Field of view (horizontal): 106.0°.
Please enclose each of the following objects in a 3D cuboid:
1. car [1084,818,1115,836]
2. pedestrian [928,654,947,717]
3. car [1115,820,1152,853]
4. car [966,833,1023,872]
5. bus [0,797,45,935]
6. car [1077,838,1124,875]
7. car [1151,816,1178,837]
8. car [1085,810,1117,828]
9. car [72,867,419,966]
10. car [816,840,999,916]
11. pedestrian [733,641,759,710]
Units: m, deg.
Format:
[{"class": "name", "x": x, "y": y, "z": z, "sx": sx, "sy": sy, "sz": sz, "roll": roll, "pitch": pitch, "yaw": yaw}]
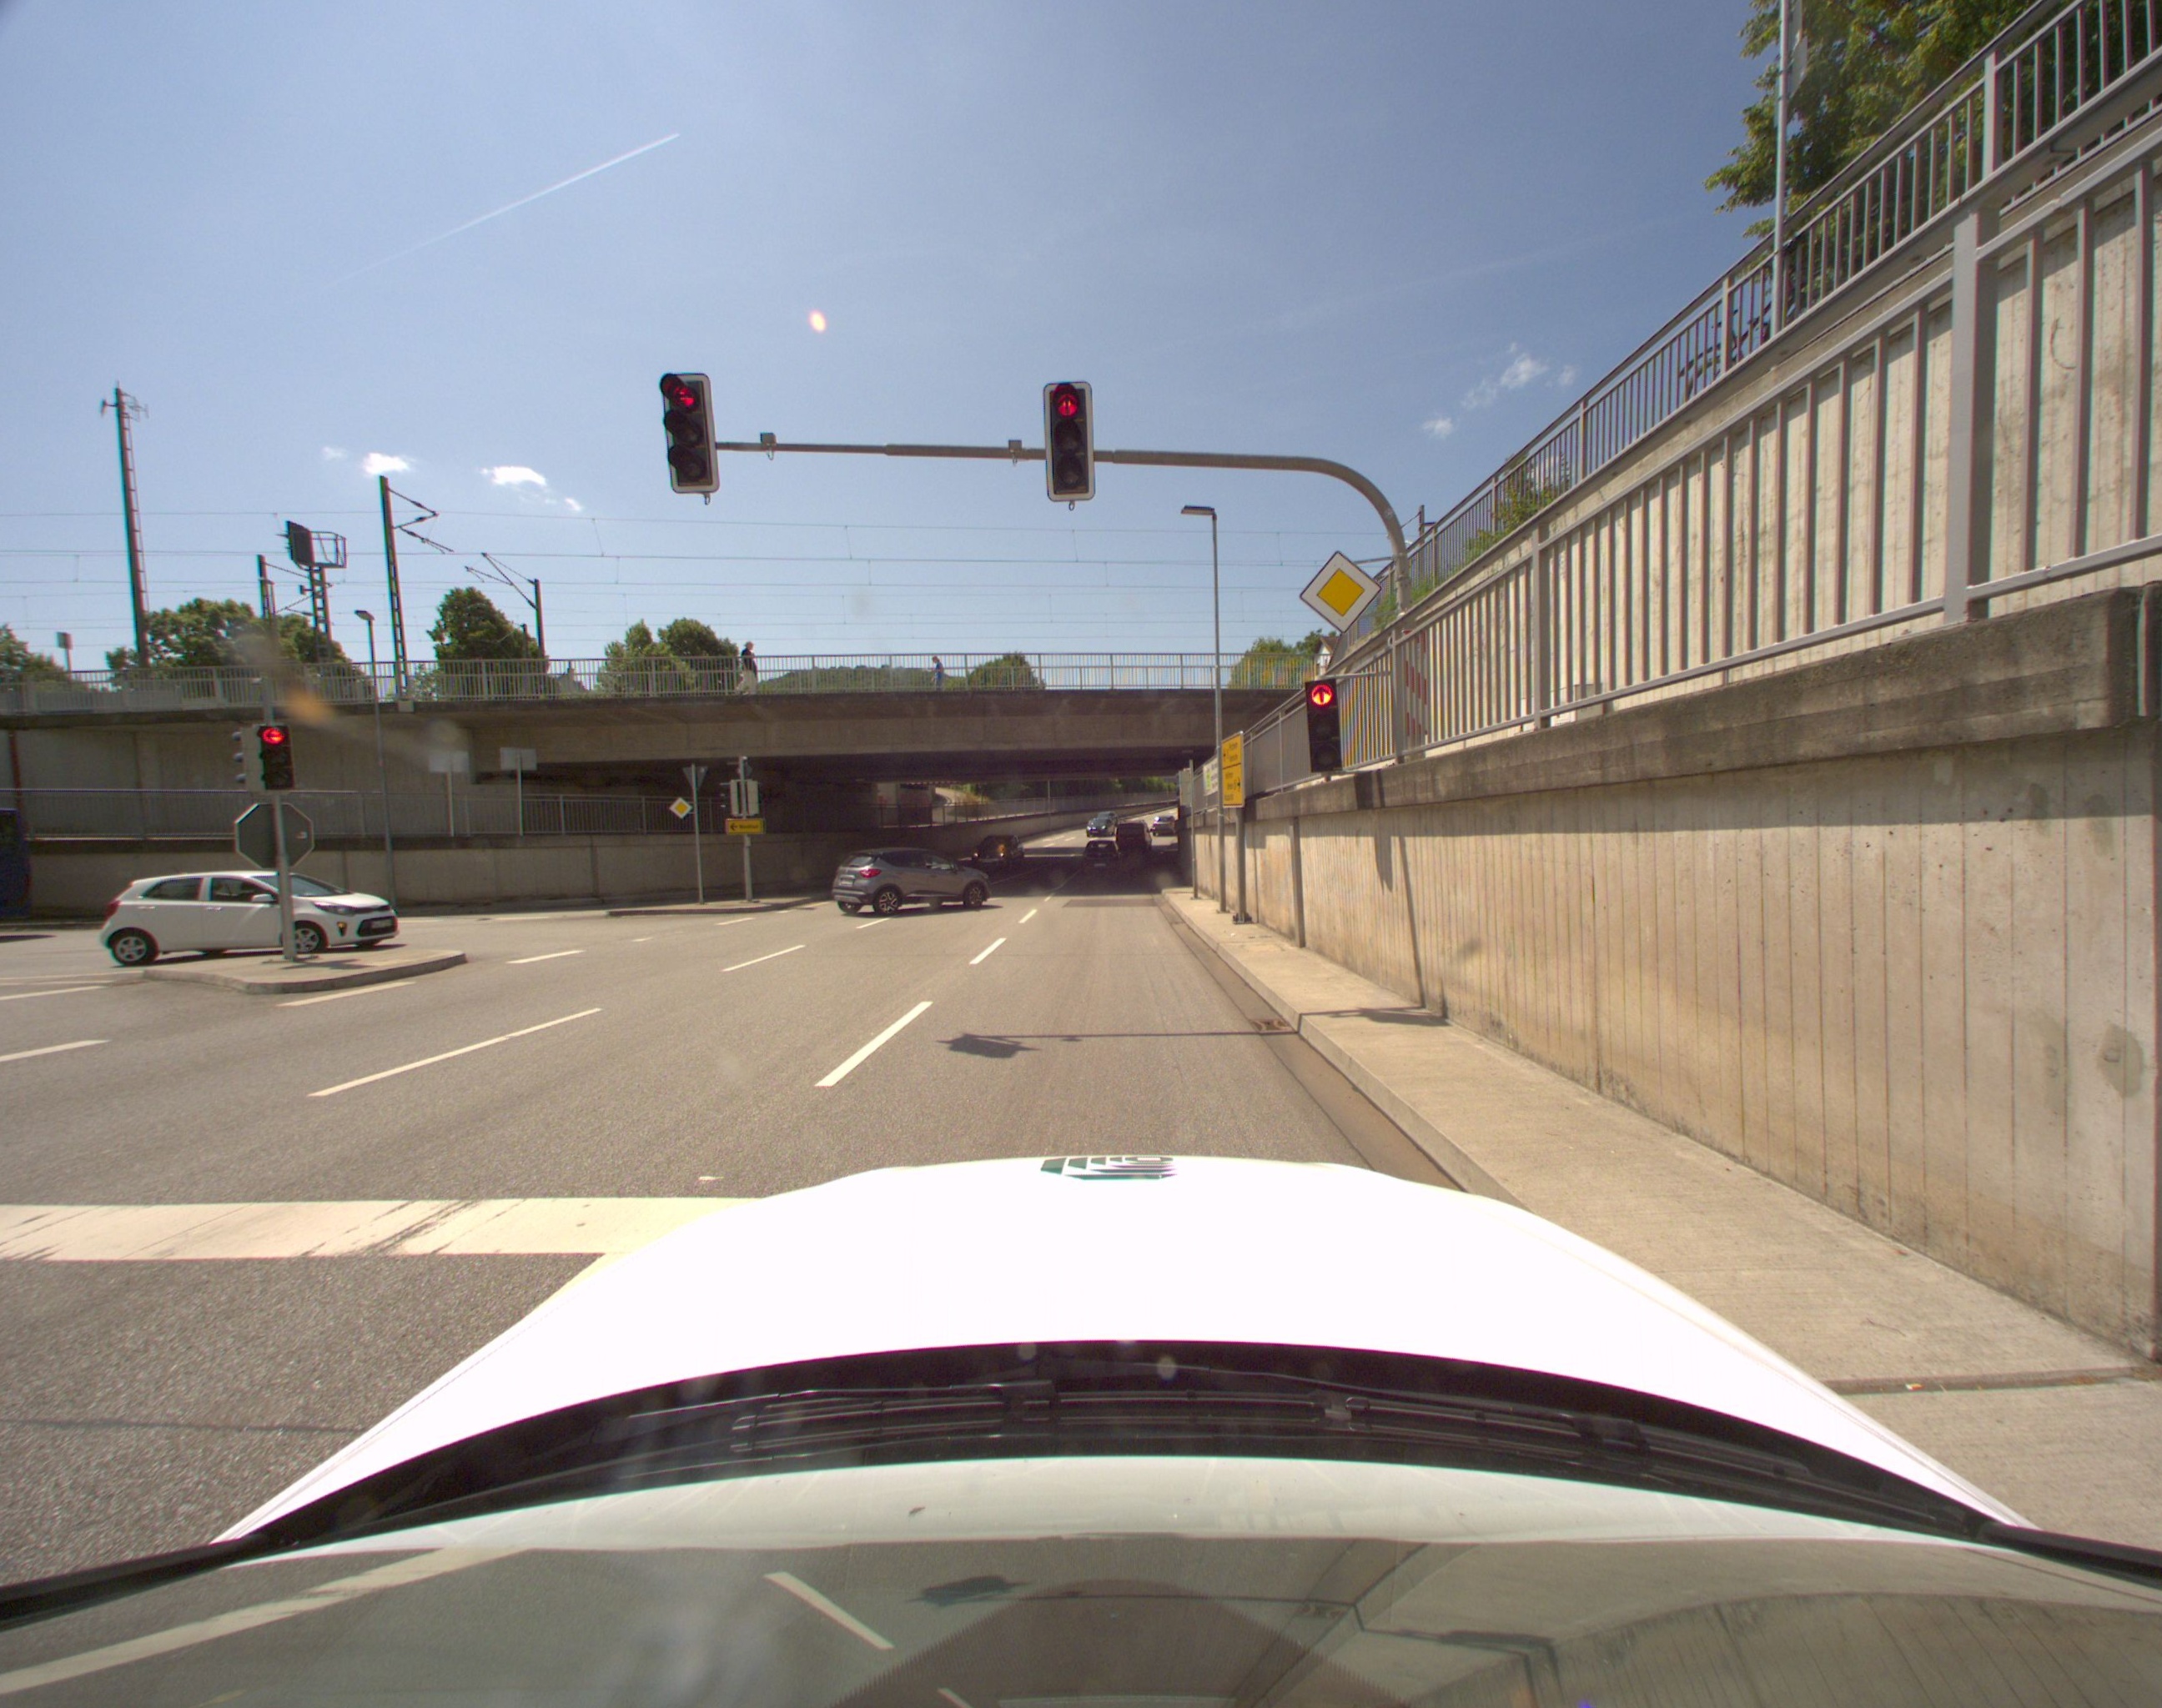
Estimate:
[{"class": "car", "x": 1.558, "y": -2.223, "z": 67.027, "sx": 1.770, "sy": 1.436, "sz": 4.015, "roll": -1, "pitch": 2, "yaw": 12}, {"class": "pedestrian", "x": -5.006, "y": -5.864, "z": 28.395, "sx": 0.538, "sy": 2.081, "sz": 0.534, "roll": -2, "pitch": 0, "yaw": -5}, {"class": "car", "x": 3.349, "y": -1.122, "z": 51.163, "sx": 1.861, "sy": 1.932, "sz": 4.733, "roll": -1, "pitch": 2, "yaw": 10}, {"class": "car", "x": -4.037, "y": -0.113, "z": 38.621, "sx": 1.984, "sy": 1.627, "sz": 4.006, "roll": -1, "pitch": 2, "yaw": 4}, {"class": "bus", "x": -30.758, "y": 0.449, "z": 17.039, "sx": 12.341, "sy": 3.172, "sz": 2.580, "roll": -2, "pitch": 2, "yaw": -11}, {"class": "car", "x": 0.909, "y": 0.056, "z": 36.735, "sx": 1.986, "sy": 1.508, "sz": 4.003, "roll": -1, "pitch": 2, "yaw": 2}, {"class": "car", "x": 6.824, "y": -2.269, "z": 66.361, "sx": 1.793, "sy": 1.617, "sz": 4.013, "roll": 0, "pitch": 2, "yaw": 11}, {"class": "car", "x": 1.895, "y": -3.293, "z": 76.692, "sx": 1.978, "sy": 1.588, "sz": 4.019, "roll": 0, "pitch": 2, "yaw": 17}, {"class": "car", "x": -14.507, "y": 1.041, "z": 14.381, "sx": 3.984, "sy": 1.420, "sz": 1.727, "roll": -1, "pitch": 2, "yaw": -8}, {"class": "car", "x": -4.258, "y": 0.496, "z": 20.377, "sx": 1.975, "sy": 1.588, "sz": 4.024, "roll": 1, "pitch": 3, "yaw": 44}, {"class": "pedestrian", "x": -10.536, "y": -5.612, "z": 25.657, "sx": 0.576, "sy": 2.081, "sz": 0.533, "roll": -2, "pitch": 0, "yaw": -9}]
